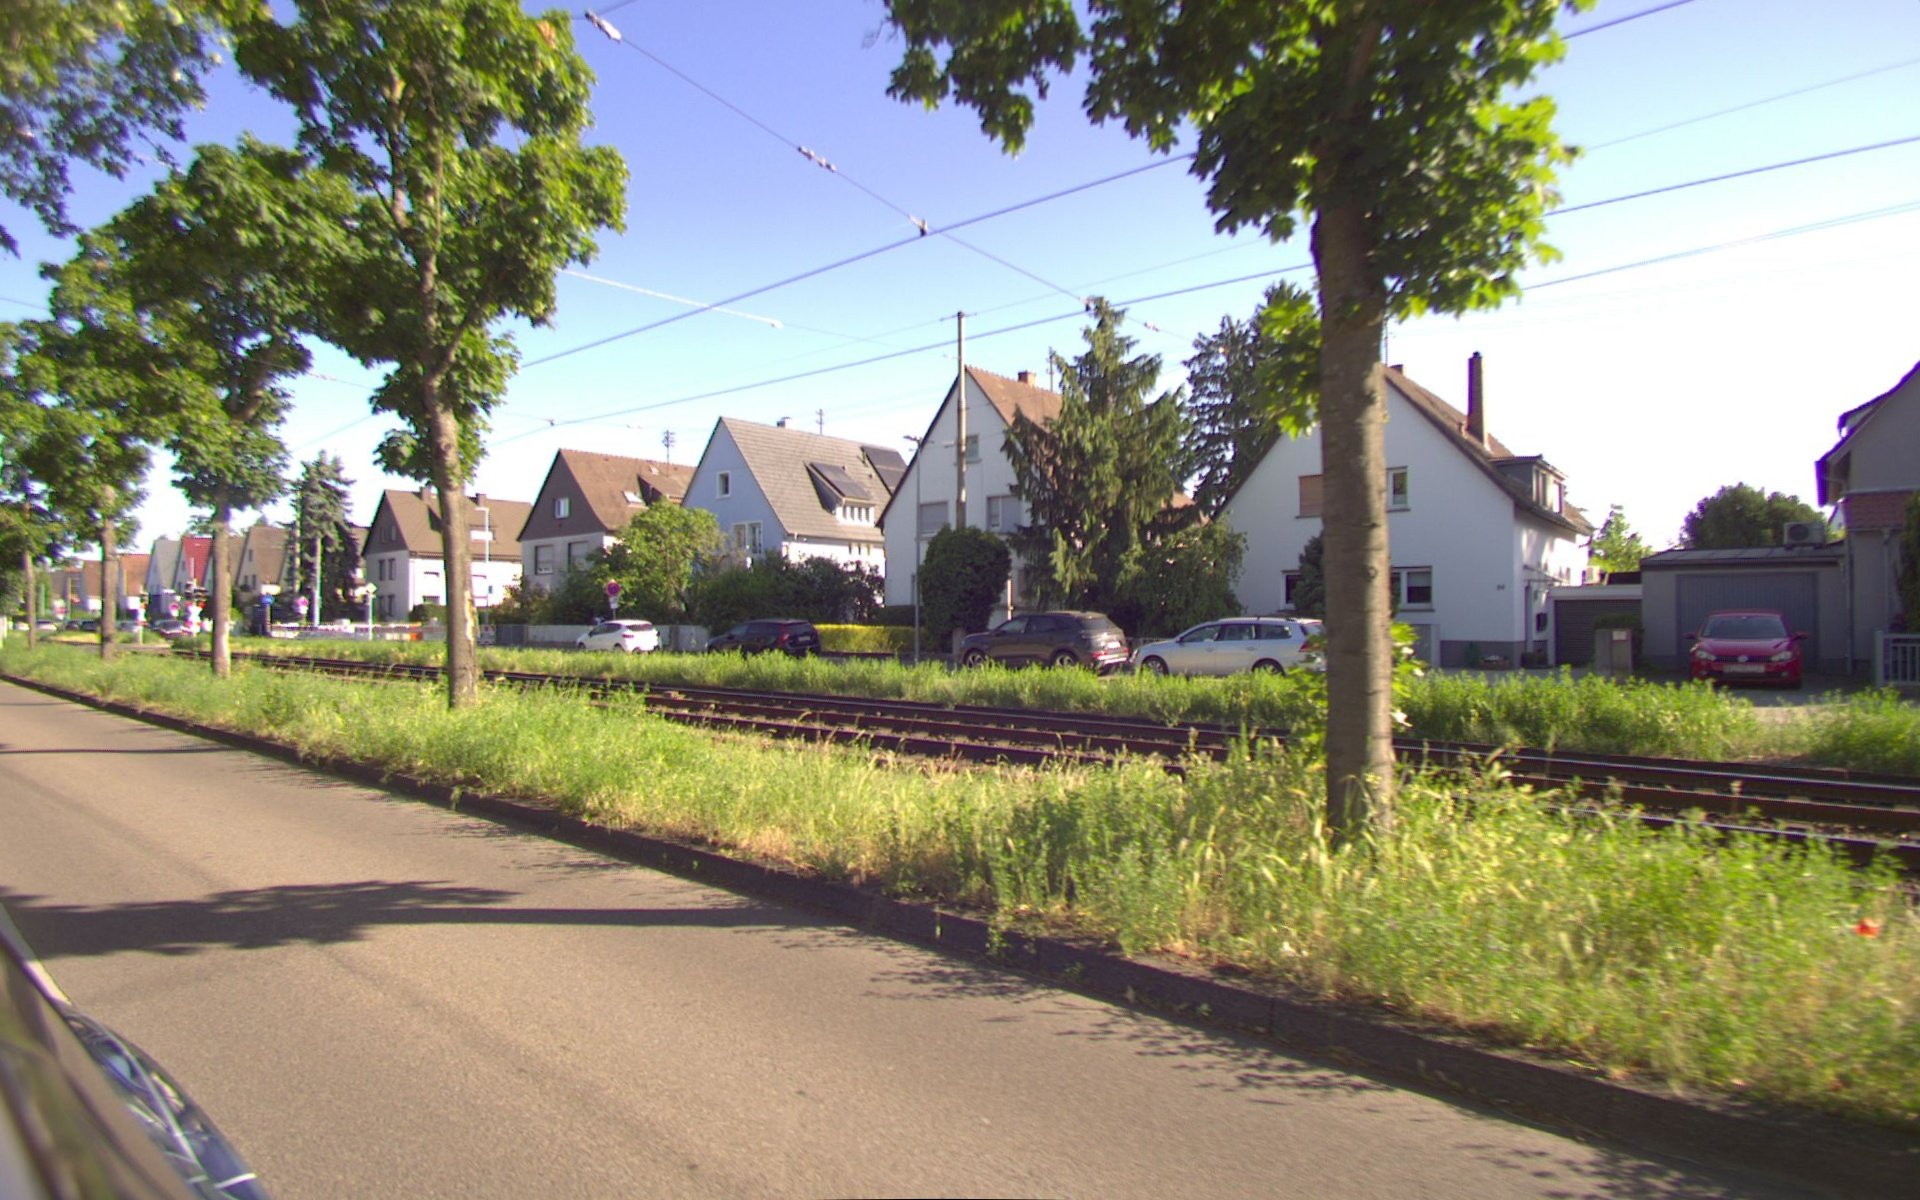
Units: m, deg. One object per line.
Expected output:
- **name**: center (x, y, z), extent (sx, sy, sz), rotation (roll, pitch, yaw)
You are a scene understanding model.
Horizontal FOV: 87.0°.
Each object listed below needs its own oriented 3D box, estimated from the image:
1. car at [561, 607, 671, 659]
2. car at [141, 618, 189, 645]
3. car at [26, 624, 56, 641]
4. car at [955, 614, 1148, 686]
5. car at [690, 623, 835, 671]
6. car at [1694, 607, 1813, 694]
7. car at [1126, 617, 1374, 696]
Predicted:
- **car**: center (-13.200, 1.228, 38.720), extent (4.582, 1.877, 1.973), rotation (-1, -2, 41)
- **car**: center (-51.737, 2.048, 65.847), extent (3.999, 1.697, 1.762), rotation (-1, -2, 42)
- **car**: center (-91.678, 3.256, 100.916), extent (3.997, 1.602, 1.709), rotation (-1, -2, 40)
- **car**: center (2.202, 1.181, 25.118), extent (4.534, 1.573, 1.864), rotation (-1, 0, 41)
- **car**: center (-6.430, 1.446, 32.616), extent (4.980, 1.351, 1.973), rotation (-1, 0, 41)
- **car**: center (16.263, 0.939, 20.749), extent (1.746, 1.481, 4.433), rotation (-1, 1, 39)
- **car**: center (6.197, 1.164, 22.020), extent (4.837, 1.483, 1.864), rotation (-1, 0, 42)
